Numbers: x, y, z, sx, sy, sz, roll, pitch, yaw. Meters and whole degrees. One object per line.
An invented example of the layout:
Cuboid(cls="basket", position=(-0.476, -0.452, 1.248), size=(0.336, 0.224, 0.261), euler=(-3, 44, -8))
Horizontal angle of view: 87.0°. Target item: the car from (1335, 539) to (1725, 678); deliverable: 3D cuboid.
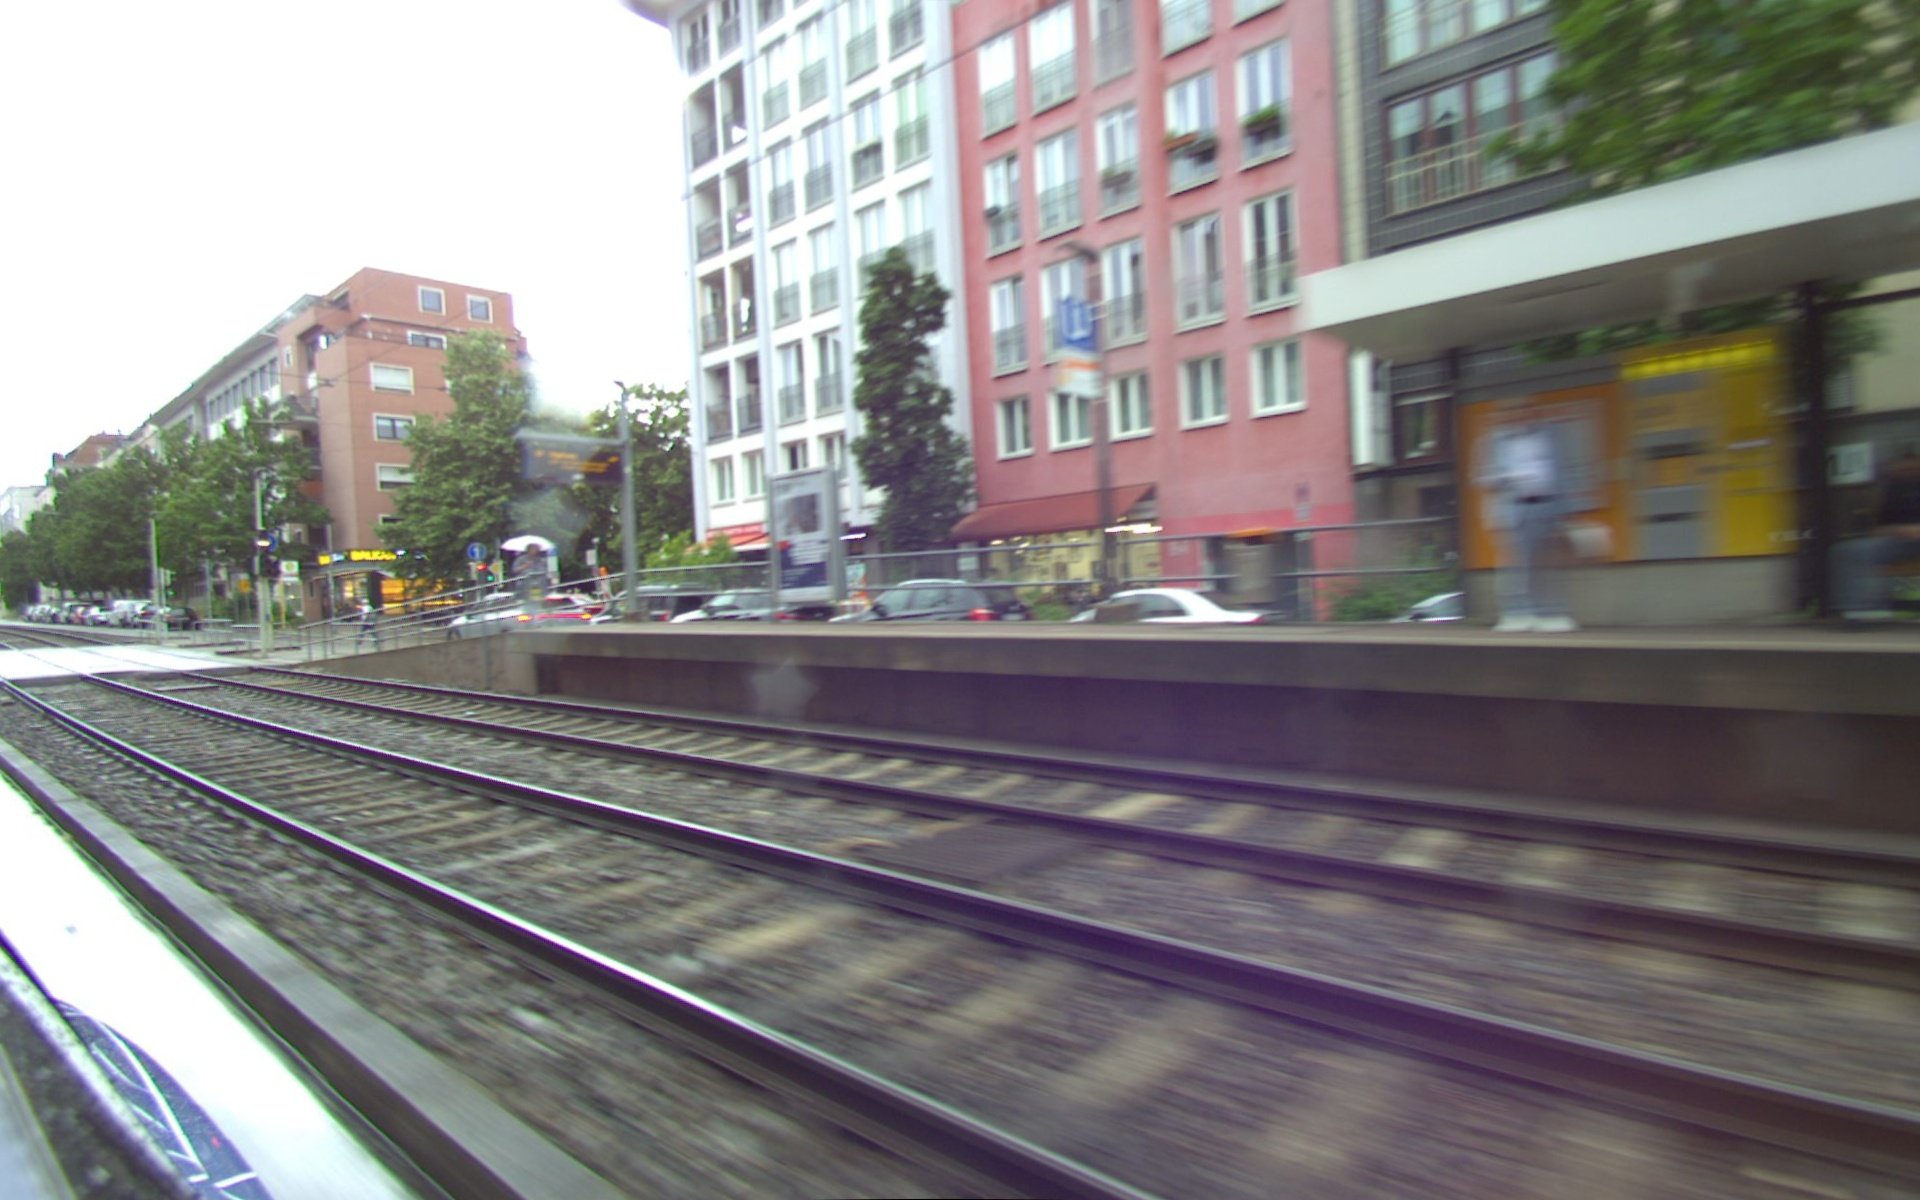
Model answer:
Cuboid(cls="car", position=(6.920, 0.098, 12.482), size=(3.974, 1.447, 1.657), euler=(-1, 1, 39))

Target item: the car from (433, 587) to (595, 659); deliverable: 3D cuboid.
Cuboid(cls="car", position=(-11.128, 0.543, 25.079), size=(5.020, 1.590, 1.787), euler=(-1, 1, 42))

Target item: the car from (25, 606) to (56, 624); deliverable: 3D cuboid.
Cuboid(cls="car", position=(-86.765, 1.437, 95.487), size=(4.335, 1.596, 1.641), euler=(0, 1, 40))

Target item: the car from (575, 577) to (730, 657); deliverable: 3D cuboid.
Cuboid(cls="car", position=(-7.946, 0.413, 25.975), size=(4.316, 1.872, 1.690), euler=(-1, 1, 39))

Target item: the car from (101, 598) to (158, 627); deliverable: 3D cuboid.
Cuboid(cls="car", position=(-56.765, 0.817, 69.114), size=(5.250, 1.858, 1.889), euler=(0, 1, 38))

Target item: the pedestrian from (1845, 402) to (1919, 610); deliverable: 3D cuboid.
Cuboid(cls="pedestrian", position=(6.149, -0.581, 6.324), size=(0.883, 1.258, 0.686), euler=(-1, 1, 40))

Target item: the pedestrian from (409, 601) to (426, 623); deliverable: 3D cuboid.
Cuboid(cls="pedestrian", position=(-29.327, 0.641, 54.690), size=(0.668, 1.186, 0.609), euler=(-2, 1, -43))

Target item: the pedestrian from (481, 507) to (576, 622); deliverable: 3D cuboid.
Cuboid(cls="pedestrian", position=(-7.994, -0.644, 18.745), size=(1.383, 2.029, 1.104), euler=(0, 1, 42))

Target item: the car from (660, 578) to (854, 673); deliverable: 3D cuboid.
Cuboid(cls="car", position=(-4.506, 0.524, 22.160), size=(4.376, 1.872, 1.784), euler=(-1, 1, 39))

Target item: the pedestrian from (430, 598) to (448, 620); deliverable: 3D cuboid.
Cuboid(cls="pedestrian", position=(-28.872, 0.516, 56.097), size=(0.601, 1.186, 0.676), euler=(-1, 0, 9))

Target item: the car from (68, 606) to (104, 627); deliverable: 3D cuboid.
Cuboid(cls="car", position=(-69.603, 1.287, 80.554), size=(3.801, 1.550, 1.622), euler=(0, 1, 41))

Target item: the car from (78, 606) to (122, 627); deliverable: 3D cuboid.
Cuboid(cls="car", position=(-63.770, 1.209, 75.021), size=(4.525, 1.473, 1.675), euler=(0, 1, 39))

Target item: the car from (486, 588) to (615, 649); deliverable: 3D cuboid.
Cuboid(cls="car", position=(-12.039, 0.532, 29.611), size=(4.553, 1.624, 1.707), euler=(-2, 0, 43))

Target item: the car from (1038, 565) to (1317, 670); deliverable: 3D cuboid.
Cuboid(cls="car", position=(3.299, 0.245, 15.786), size=(3.974, 1.447, 1.553), euler=(-1, 1, 39))

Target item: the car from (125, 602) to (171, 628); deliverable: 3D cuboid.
Cuboid(cls="car", position=(-52.192, 0.945, 65.009), size=(4.370, 1.548, 1.621), euler=(0, 1, 42))

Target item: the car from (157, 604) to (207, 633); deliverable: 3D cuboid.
Cuboid(cls="car", position=(-47.243, 1.108, 61.430), size=(4.370, 1.636, 1.621), euler=(0, 1, 42))

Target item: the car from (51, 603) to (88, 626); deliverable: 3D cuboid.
Cuboid(cls="car", position=(-74.023, 1.170, 84.108), size=(4.429, 1.830, 1.657), euler=(0, 1, 41))

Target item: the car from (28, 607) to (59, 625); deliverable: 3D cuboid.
Cuboid(cls="car", position=(-82.466, 1.436, 91.028), size=(4.021, 1.549, 1.621), euler=(0, 1, 42))

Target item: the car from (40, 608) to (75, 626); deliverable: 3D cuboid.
Cuboid(cls="car", position=(-78.281, 1.478, 87.738), size=(4.727, 1.451, 1.622), euler=(0, 1, 41))

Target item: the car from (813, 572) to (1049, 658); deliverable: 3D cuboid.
Cuboid(cls="car", position=(-0.622, 0.260, 19.151), size=(4.314, 1.447, 1.823), euler=(-1, 1, 39))

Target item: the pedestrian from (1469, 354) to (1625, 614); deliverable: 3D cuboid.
Cuboid(cls="pedestrian", position=(4.212, -0.774, 7.260), size=(0.849, 1.724, 0.649), euler=(-1, 0, 40))

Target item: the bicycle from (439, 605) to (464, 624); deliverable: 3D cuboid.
Cuboid(cls="bicycle", position=(-26.201, 0.753, 52.134), size=(1.873, 0.966, 0.475), euler=(0, 1, 42))

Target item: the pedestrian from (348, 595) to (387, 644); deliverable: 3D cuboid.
Cuboid(cls="pedestrian", position=(-21.578, 0.705, 36.855), size=(0.983, 1.709, 0.812), euler=(-1, 2, 34))

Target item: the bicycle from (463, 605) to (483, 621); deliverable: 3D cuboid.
Cuboid(cls="bicycle", position=(-25.433, 0.690, 52.850), size=(1.646, 0.822, 0.335), euler=(0, 1, 42))
